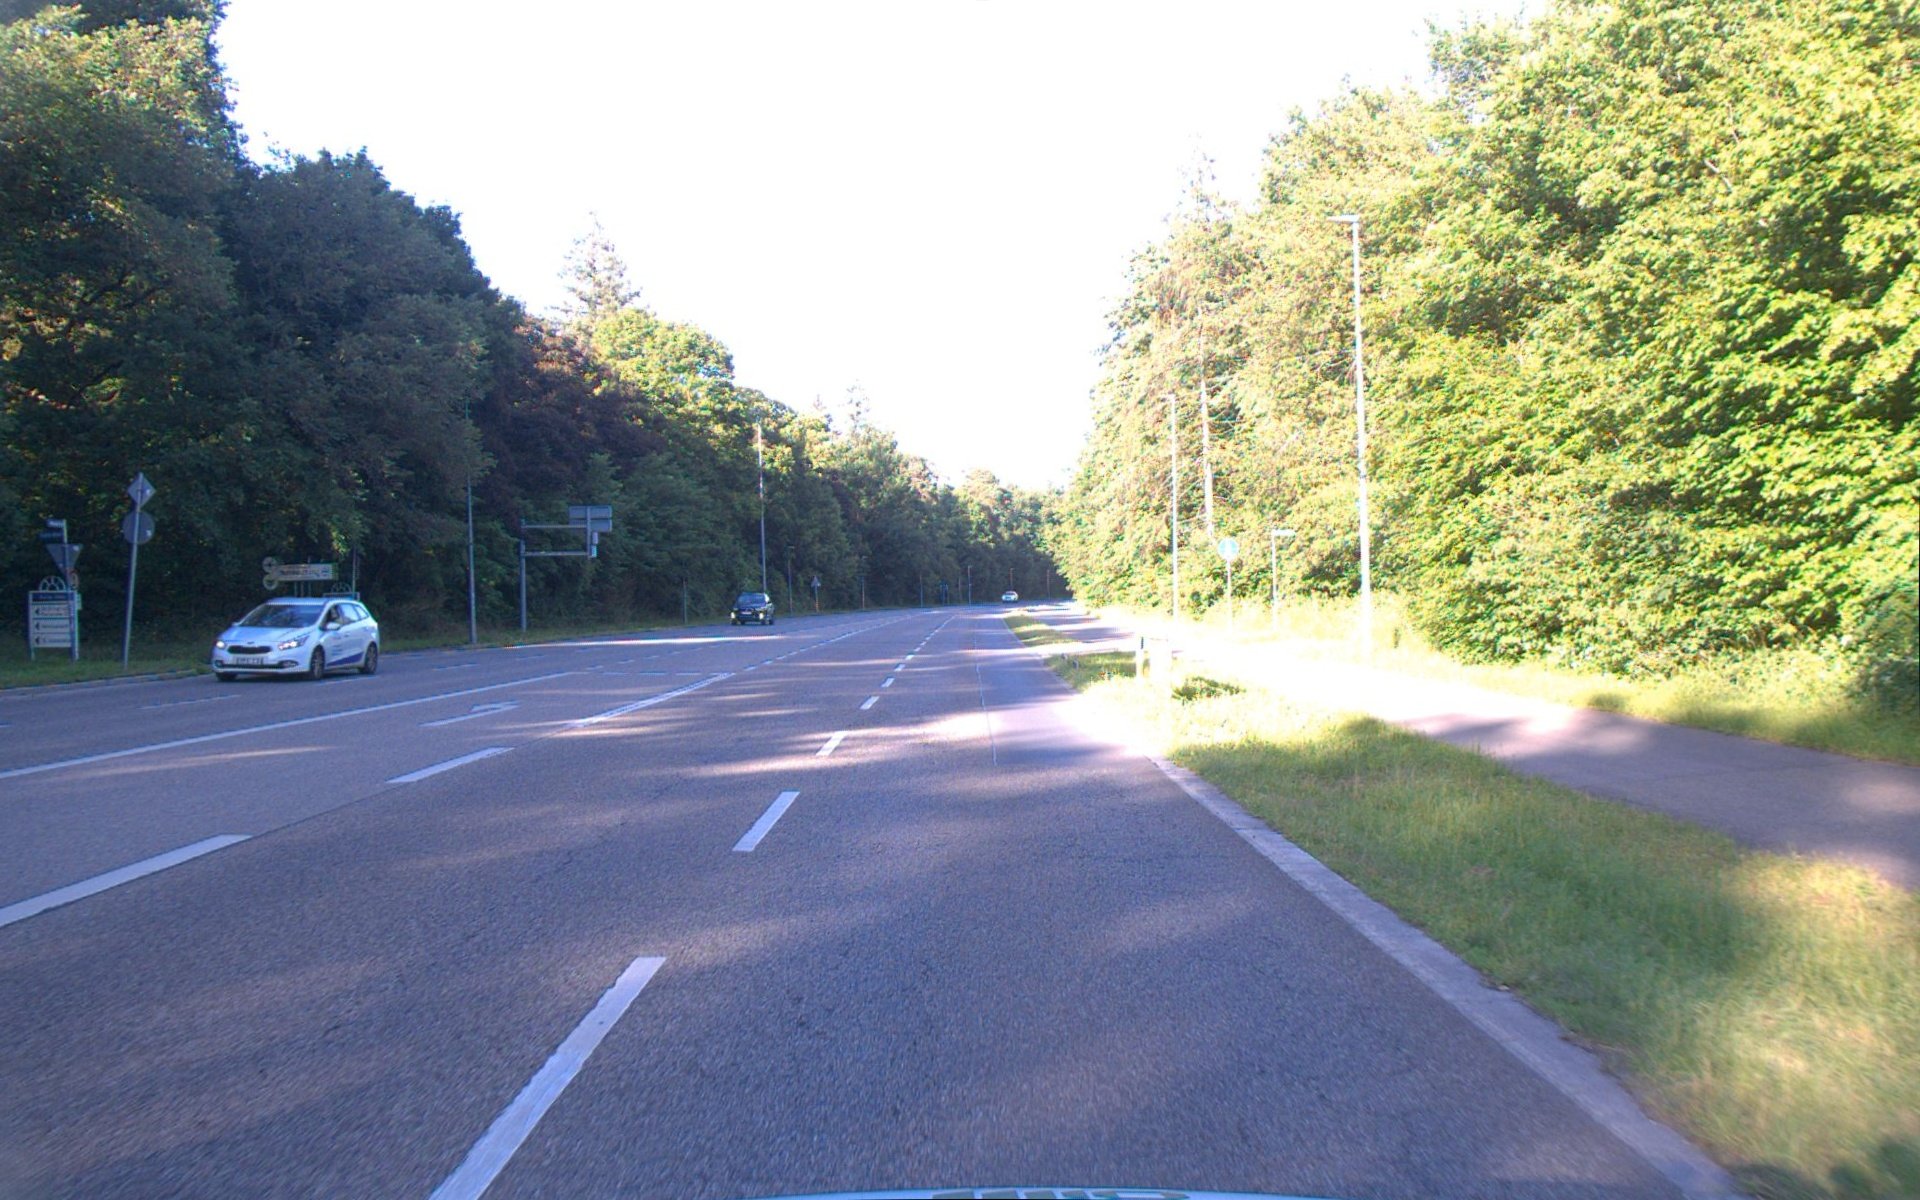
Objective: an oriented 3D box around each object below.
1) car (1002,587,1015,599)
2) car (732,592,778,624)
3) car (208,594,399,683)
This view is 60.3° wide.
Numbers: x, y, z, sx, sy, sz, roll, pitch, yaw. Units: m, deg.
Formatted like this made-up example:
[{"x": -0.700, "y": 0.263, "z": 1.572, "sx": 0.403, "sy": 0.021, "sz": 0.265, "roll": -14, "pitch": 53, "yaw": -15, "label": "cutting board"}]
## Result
[{"x": 7.085, "y": -0.988, "z": 242.263, "sx": 1.868, "sy": 1.693, "sz": 4.734, "roll": -1, "pitch": 0, "yaw": 1, "label": "car"}, {"x": -10.577, "y": 0.406, "z": 85.566, "sx": 1.787, "sy": 1.617, "sz": 4.351, "roll": 0, "pitch": 0, "yaw": 1, "label": "car"}, {"x": -12.157, "y": 0.657, "z": 30.928, "sx": 1.787, "sy": 1.530, "sz": 4.307, "roll": -1, "pitch": 0, "yaw": 1, "label": "car"}]
